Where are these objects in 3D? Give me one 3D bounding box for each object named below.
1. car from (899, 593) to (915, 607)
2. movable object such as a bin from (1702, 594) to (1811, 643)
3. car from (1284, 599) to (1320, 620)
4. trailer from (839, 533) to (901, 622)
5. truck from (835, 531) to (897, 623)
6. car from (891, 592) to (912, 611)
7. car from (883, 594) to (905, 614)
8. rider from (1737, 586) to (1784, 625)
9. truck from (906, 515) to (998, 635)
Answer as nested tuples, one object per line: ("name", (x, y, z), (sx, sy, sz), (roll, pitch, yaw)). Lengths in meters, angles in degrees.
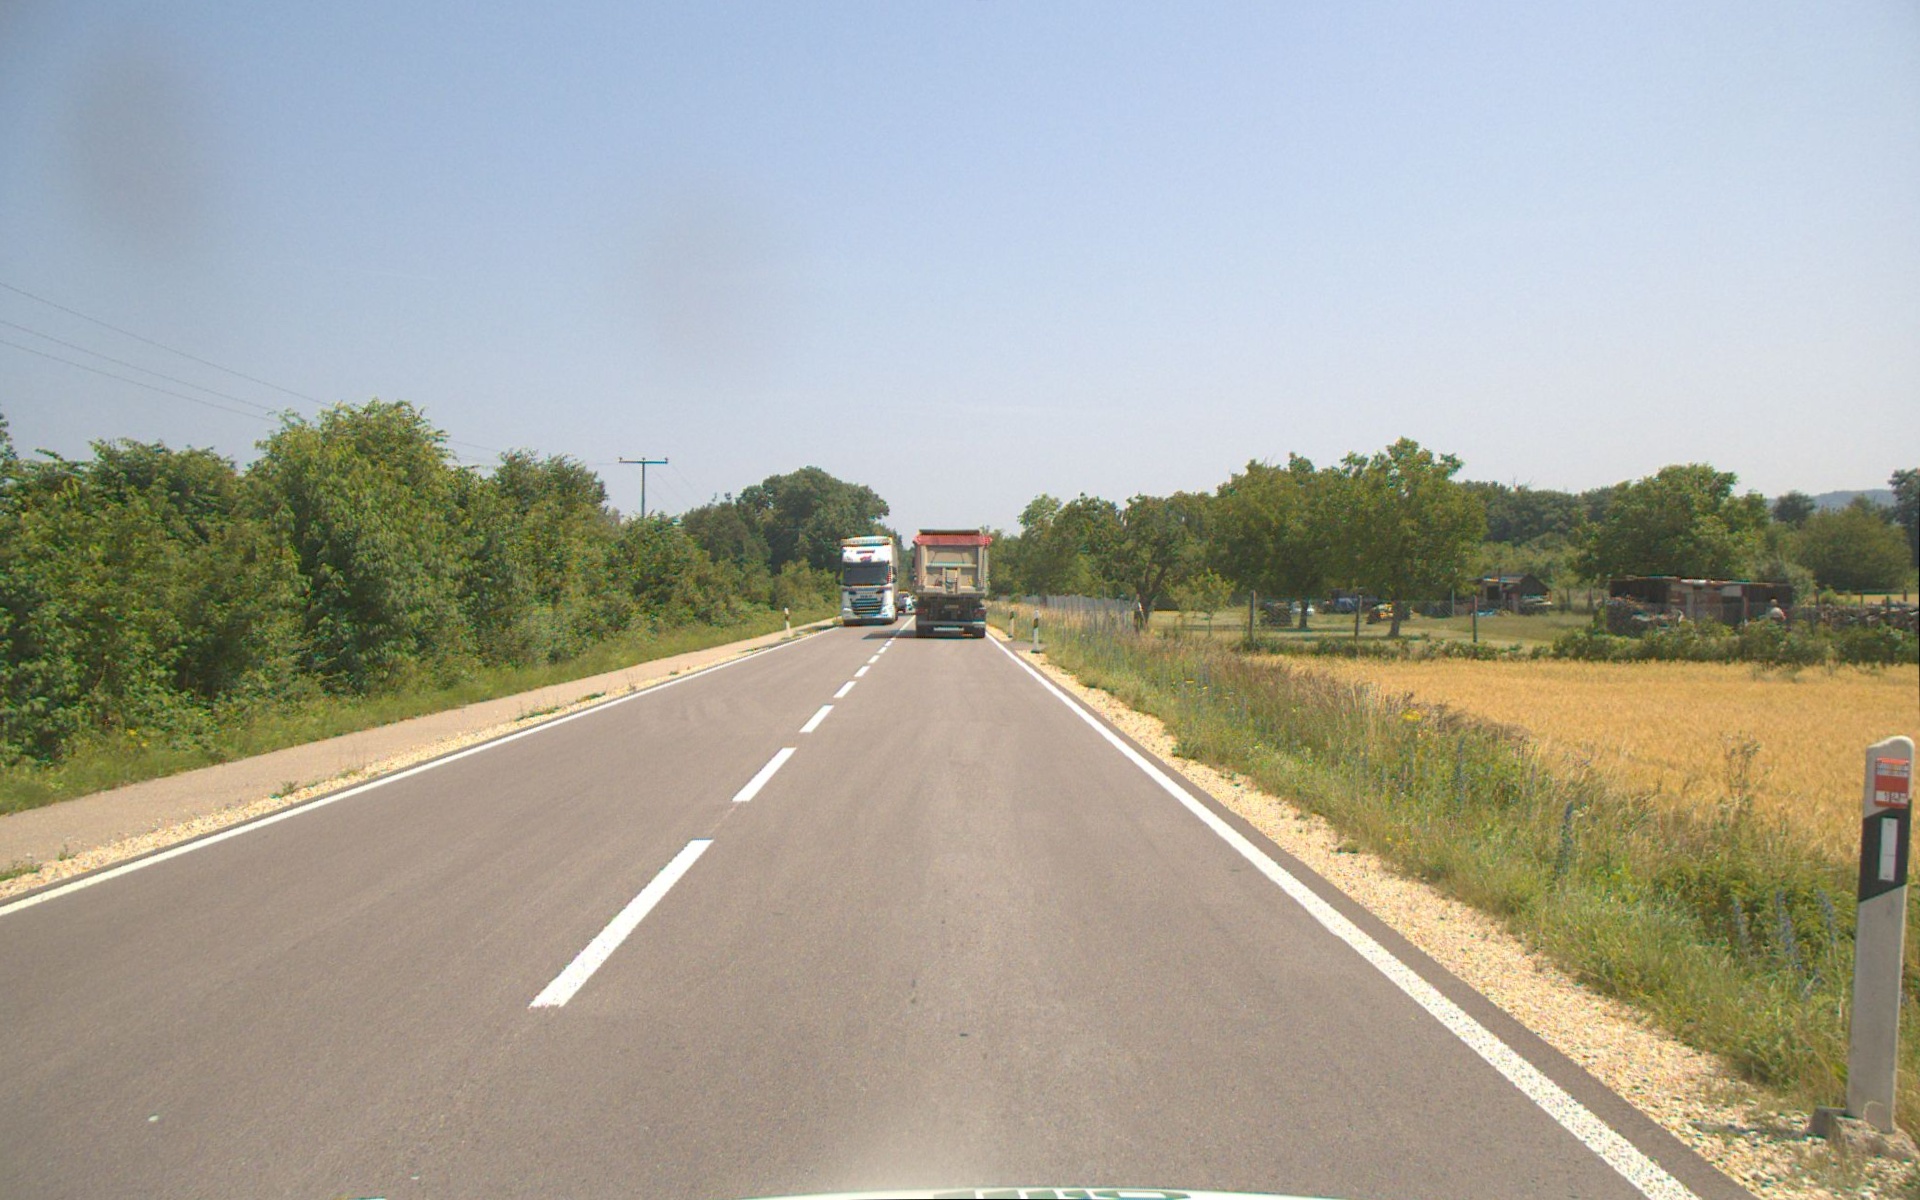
("car", (-5.971, -0.003, 187.157), (1.723, 1.567, 4.045), (-2, 0, -1))
("movable object such as a bin", (25.803, 0.568, 53.706), (1.540, 1.522, 3.655), (0, 0, -5))
("car", (25.500, 0.681, 123.454), (1.563, 1.512, 3.421), (0, 1, -9))
("trailer", (-4.725, -1.171, 89.168), (2.662, 4.340, 13.807), (-2, 0, -1))
("truck", (-4.637, -1.132, 83.188), (2.662, 4.340, 7.388), (-2, 0, -1))
("car", (-5.207, 0.137, 146.918), (1.723, 1.634, 4.480), (-2, 0, -1))
("car", (-5.061, 0.269, 126.862), (1.660, 1.431, 4.044), (-2, 0, -2))
("rider", (25.748, 0.174, 53.216), (1.005, 1.239, 0.984), (0, 0, -7))
("truck", (-0.361, -0.831, 61.215), (2.948, 3.942, 12.206), (1, 0, -1))
